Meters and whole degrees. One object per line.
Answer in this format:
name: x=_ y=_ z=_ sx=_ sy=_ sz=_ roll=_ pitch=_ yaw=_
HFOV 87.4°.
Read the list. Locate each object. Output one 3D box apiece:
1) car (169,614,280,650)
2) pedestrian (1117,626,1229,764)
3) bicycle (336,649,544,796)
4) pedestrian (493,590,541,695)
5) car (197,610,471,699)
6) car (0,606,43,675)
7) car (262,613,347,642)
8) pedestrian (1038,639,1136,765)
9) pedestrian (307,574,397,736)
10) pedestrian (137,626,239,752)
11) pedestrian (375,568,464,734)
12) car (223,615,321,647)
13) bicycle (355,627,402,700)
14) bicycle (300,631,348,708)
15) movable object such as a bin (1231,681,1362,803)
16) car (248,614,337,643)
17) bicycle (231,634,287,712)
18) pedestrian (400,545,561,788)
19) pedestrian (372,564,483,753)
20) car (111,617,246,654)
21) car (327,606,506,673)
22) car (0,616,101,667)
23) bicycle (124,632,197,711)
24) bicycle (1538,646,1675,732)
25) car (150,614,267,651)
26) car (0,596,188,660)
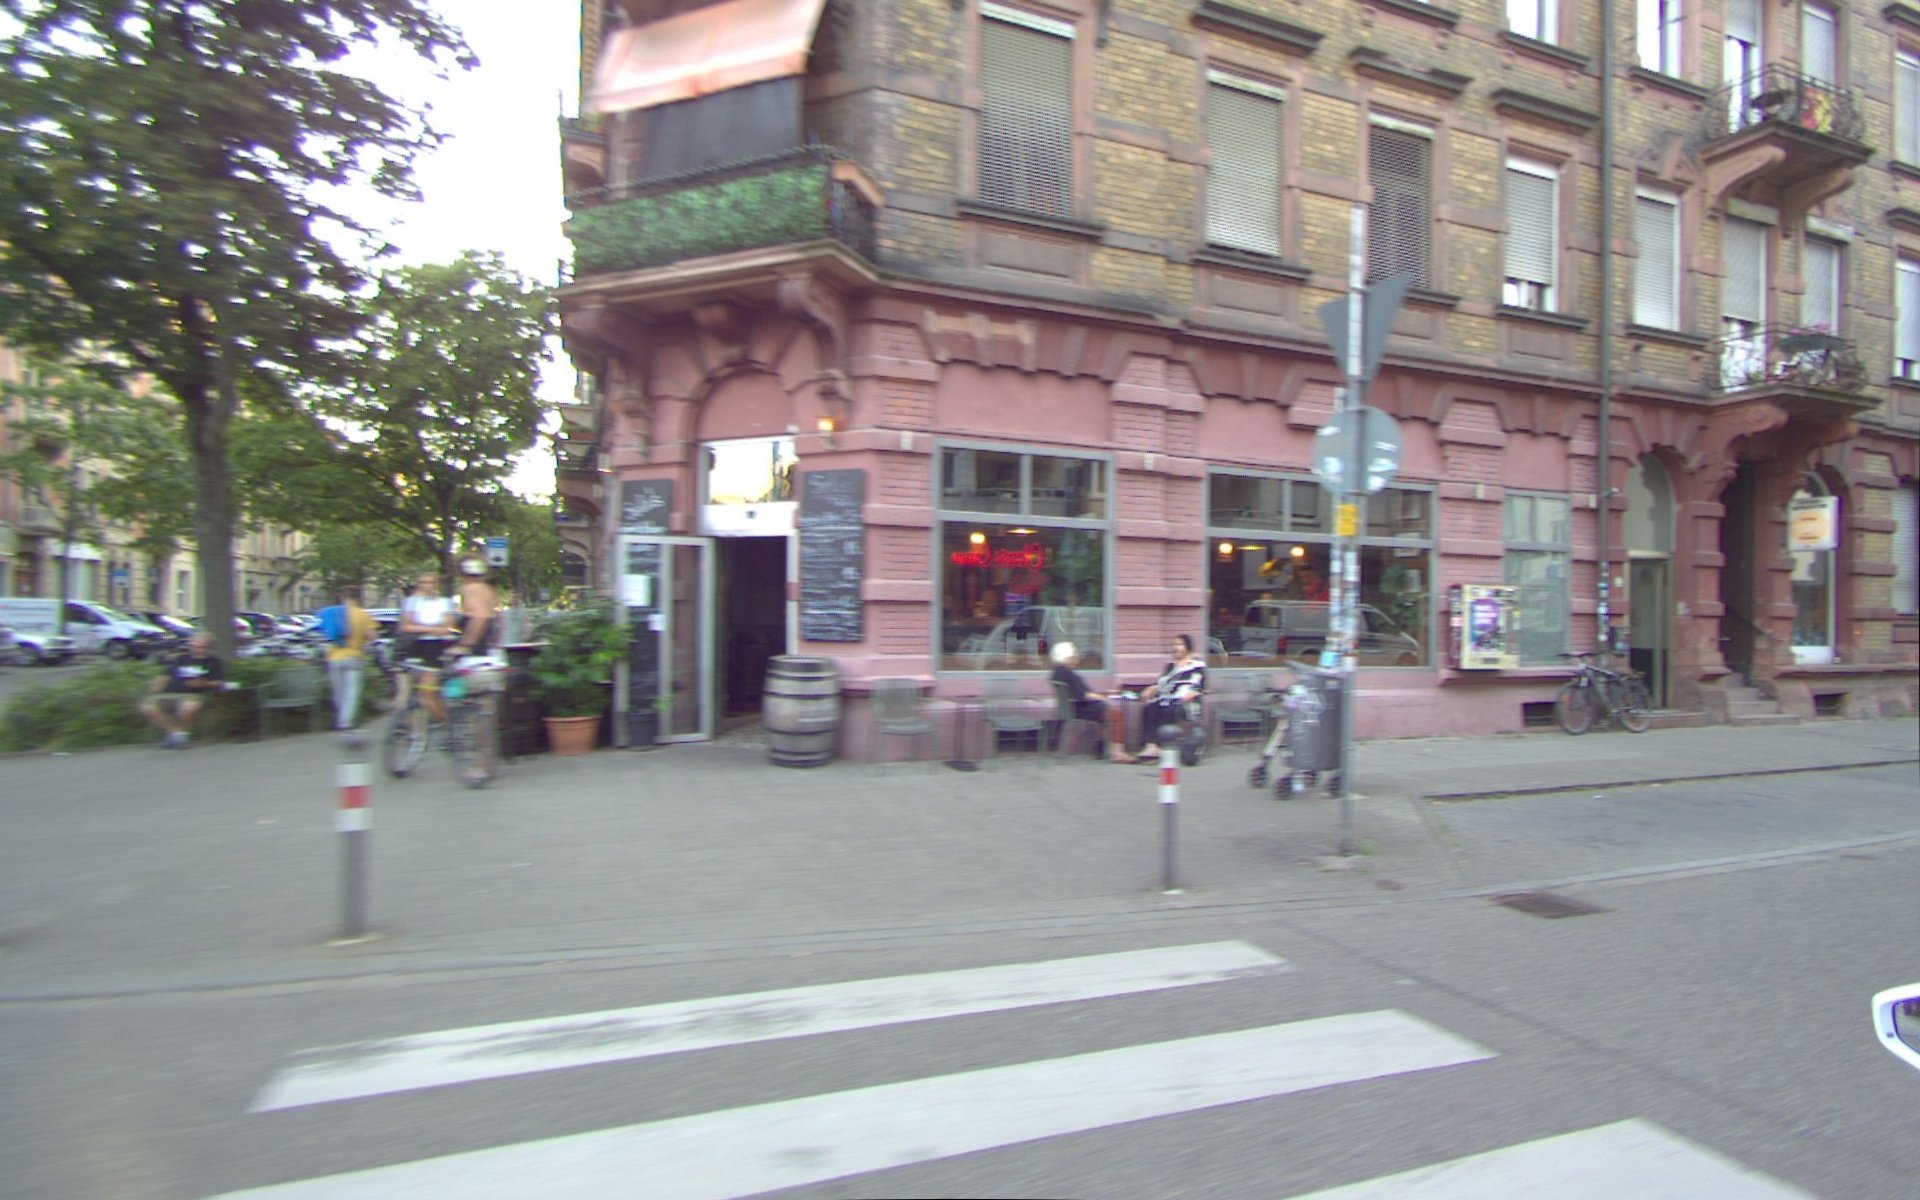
car: x=-33.934 y=1.490 z=46.466 sx=3.757 sy=1.528 sz=1.712 roll=2 pitch=-2 yaw=-22
pedestrian: x=2.156 y=0.928 z=10.165 sx=0.900 sy=1.271 sz=0.643 roll=0 pitch=3 yaw=-37
bicycle: x=-4.242 y=0.945 z=8.167 sx=1.743 sy=1.039 sz=0.611 roll=-1 pitch=1 yaw=29
pedestrian: x=-7.663 y=0.714 z=17.371 sx=0.686 sy=1.748 sz=0.847 roll=-2 pitch=1 yaw=-26
car: x=-12.494 y=1.111 z=20.421 sx=4.410 sy=1.646 sz=1.880 roll=2 pitch=-1 yaw=-23
car: x=-24.504 y=0.900 z=23.543 sx=3.942 sy=1.595 sz=1.899 roll=2 pitch=-2 yaw=-22
car: x=-37.480 y=1.586 z=57.532 sx=3.757 sy=1.528 sz=1.712 roll=2 pitch=-2 yaw=-22
pedestrian: x=1.236 y=0.981 z=9.809 sx=0.779 sy=1.158 sz=0.502 roll=2 pitch=-1 yaw=-21
pedestrian: x=-7.129 y=0.619 z=11.818 sx=0.748 sy=1.815 sz=0.783 roll=-2 pitch=1 yaw=-24
pedestrian: x=-8.599 y=0.962 z=11.216 sx=0.726 sy=1.322 sz=0.787 roll=-2 pitch=-1 yaw=-26
pedestrian: x=-6.319 y=0.564 z=11.790 sx=0.747 sy=1.853 sz=0.884 roll=-2 pitch=1 yaw=-20
car: x=-35.055 y=1.608 z=51.268 sx=3.757 sy=1.528 sz=1.712 roll=2 pitch=-2 yaw=-22
bicycle: x=-10.557 y=1.118 z=18.222 sx=0.680 sy=1.200 sz=1.796 roll=-1 pitch=0 yaw=-32
bicycle: x=-11.300 y=1.195 z=17.882 sx=0.680 sy=1.235 sz=1.796 roll=-1 pitch=0 yaw=-32
movable object such as a bin: x=2.857 y=1.179 z=8.553 sx=0.720 sy=0.928 sz=0.759 roll=2 pitch=-1 yaw=-25
car: x=-36.944 y=1.599 z=55.677 sx=3.757 sy=1.528 sz=1.712 roll=2 pitch=-2 yaw=-22
bicycle: x=-12.127 y=1.225 z=17.425 sx=0.680 sy=1.219 sz=1.796 roll=-1 pitch=0 yaw=-32
pedestrian: x=-3.964 y=0.517 z=8.323 sx=1.004 sy=1.880 sz=0.724 roll=0 pitch=1 yaw=28
pedestrian: x=-5.490 y=0.570 z=10.426 sx=0.743 sy=1.836 sz=1.046 roll=-2 pitch=1 yaw=-15
car: x=-30.255 y=1.406 z=39.030 sx=3.757 sy=1.329 sz=1.712 roll=2 pitch=-3 yaw=-22
car: x=-15.921 y=1.165 z=29.701 sx=4.410 sy=1.824 sz=1.967 roll=2 pitch=-1 yaw=-23
car: x=-25.849 y=1.096 z=27.012 sx=3.757 sy=1.329 sz=1.712 roll=2 pitch=-2 yaw=-22
bicycle: x=-13.101 y=1.136 z=16.503 sx=0.698 sy=1.192 sz=1.936 roll=-1 pitch=-1 yaw=-32
bicycle: x=8.439 y=1.143 z=13.098 sx=1.868 sy=1.067 sz=0.425 roll=1 pitch=0 yaw=-19
car: x=-33.225 y=1.443 z=44.500 sx=3.757 sy=1.528 sz=1.712 roll=2 pitch=-2 yaw=-22
car: x=-27.913 y=0.890 z=31.793 sx=5.030 sy=1.854 sz=2.109 roll=2 pitch=-2 yaw=-19
